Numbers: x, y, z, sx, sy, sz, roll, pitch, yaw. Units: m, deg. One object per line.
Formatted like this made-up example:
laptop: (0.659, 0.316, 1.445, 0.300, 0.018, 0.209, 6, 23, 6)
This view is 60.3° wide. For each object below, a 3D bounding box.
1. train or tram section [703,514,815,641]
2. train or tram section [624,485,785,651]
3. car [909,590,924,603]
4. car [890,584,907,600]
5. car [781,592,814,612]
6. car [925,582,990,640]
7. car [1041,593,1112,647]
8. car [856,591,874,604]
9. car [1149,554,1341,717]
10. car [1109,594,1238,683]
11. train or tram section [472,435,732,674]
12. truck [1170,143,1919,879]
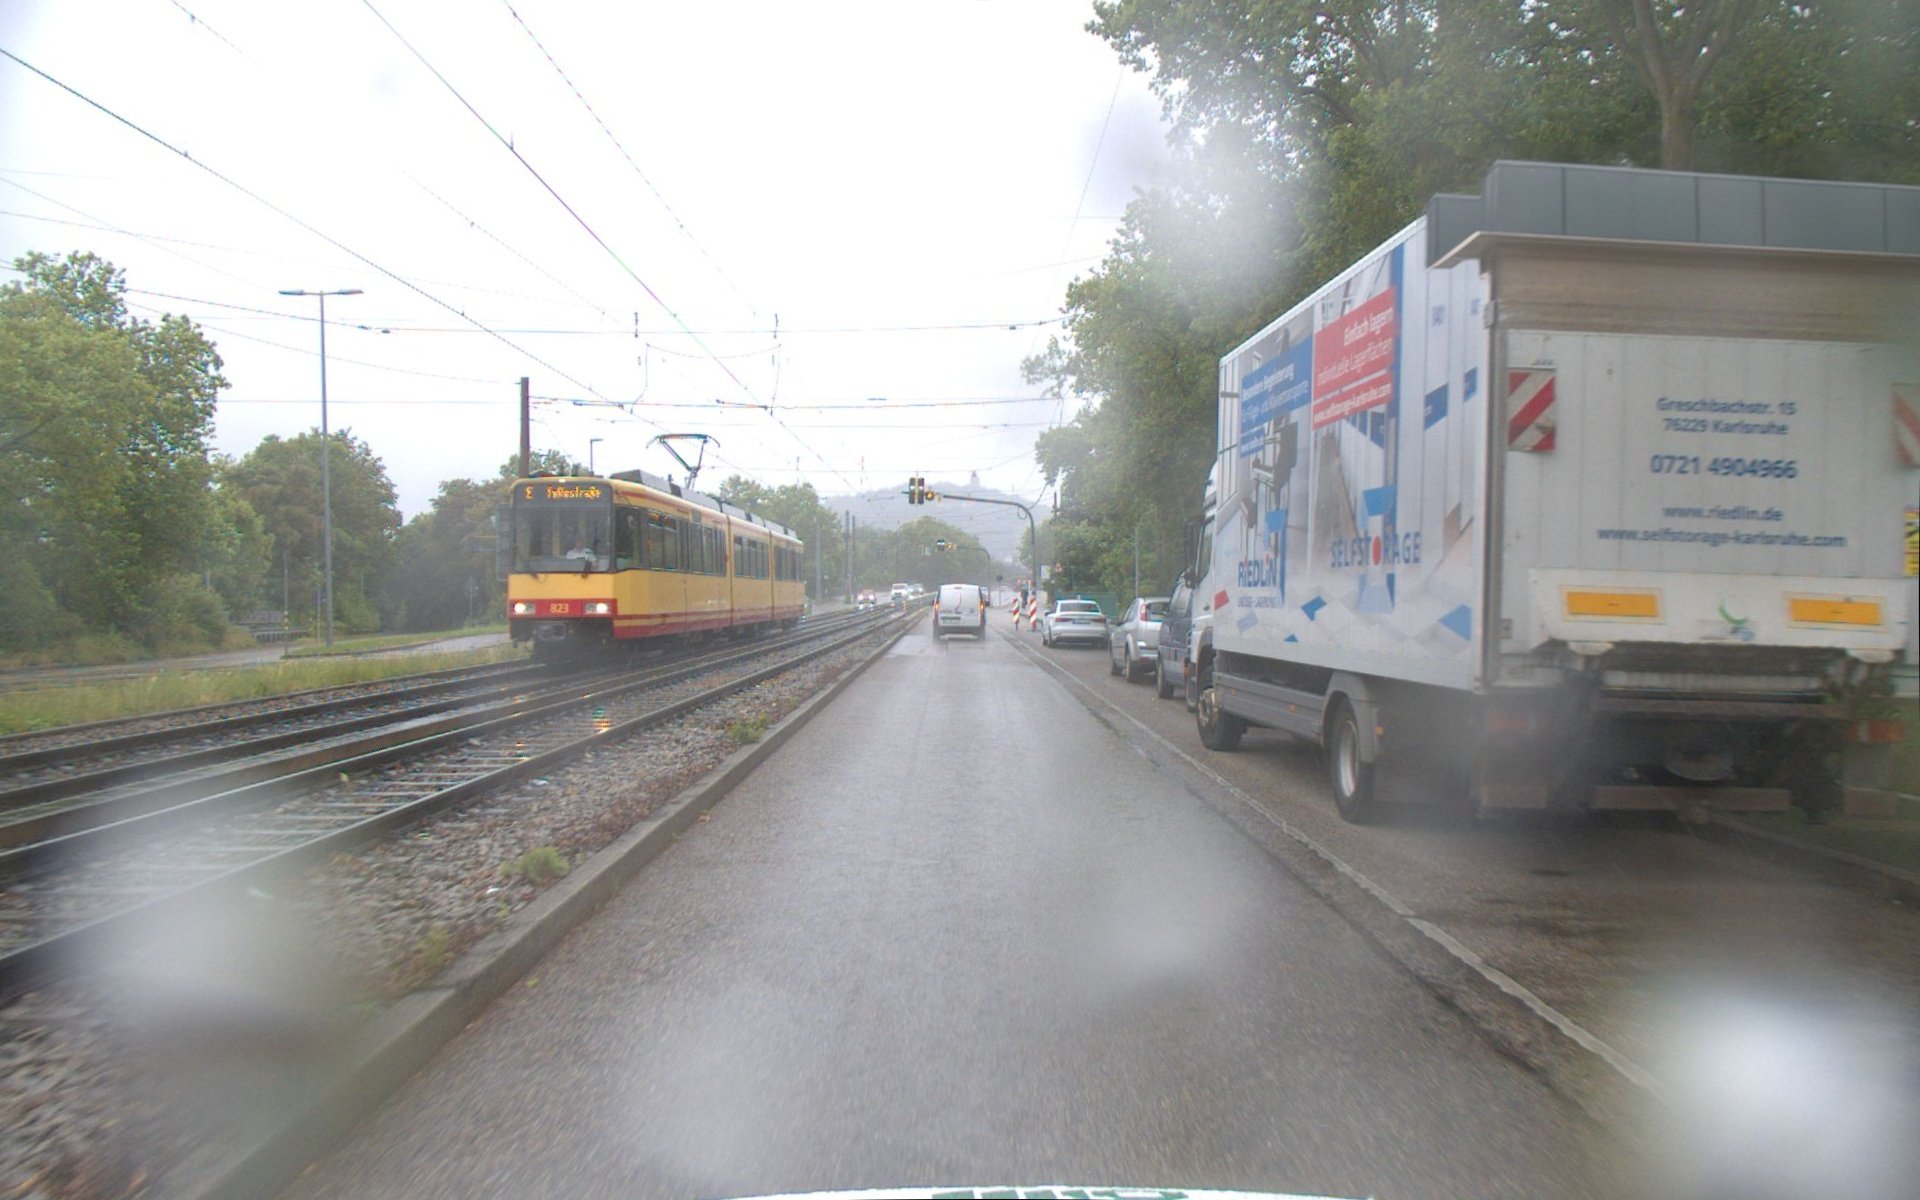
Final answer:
train or tram section: (-7.169, -0.709, 60.407, 2.753, 4.222, 10.269, 0, -1, 0)
train or tram section: (-7.204, -0.796, 48.752, 2.749, 4.222, 13.018, 0, 0, 0)
car: (-6.372, -0.506, 242.728, 1.952, 1.982, 4.000, 0, -1, 1)
car: (-8.042, -1.066, 217.248, 1.952, 2.049, 4.000, 0, -1, 1)
car: (-12.025, 0.145, 122.439, 1.953, 1.429, 5.385, -1, 0, -1)
car: (-0.120, 0.357, 55.440, 1.954, 1.881, 3.997, 0, 0, -4)
car: (3.455, 0.564, 49.784, 1.782, 1.512, 4.480, 1, 0, 0)
car: (-10.392, -0.256, 181.019, 1.782, 1.422, 3.999, -1, 0, -1)
car: (3.955, 0.445, 23.770, 1.838, 2.049, 4.980, 1, 0, 0)
car: (3.852, 0.670, 30.542, 1.776, 1.485, 4.345, 1, 0, 0)
train or tram section: (-7.217, -0.822, 35.706, 2.749, 4.222, 13.019, 0, 0, 0)
truck: (3.870, -0.413, 13.451, 2.720, 3.769, 9.847, 0, -1, -2)
